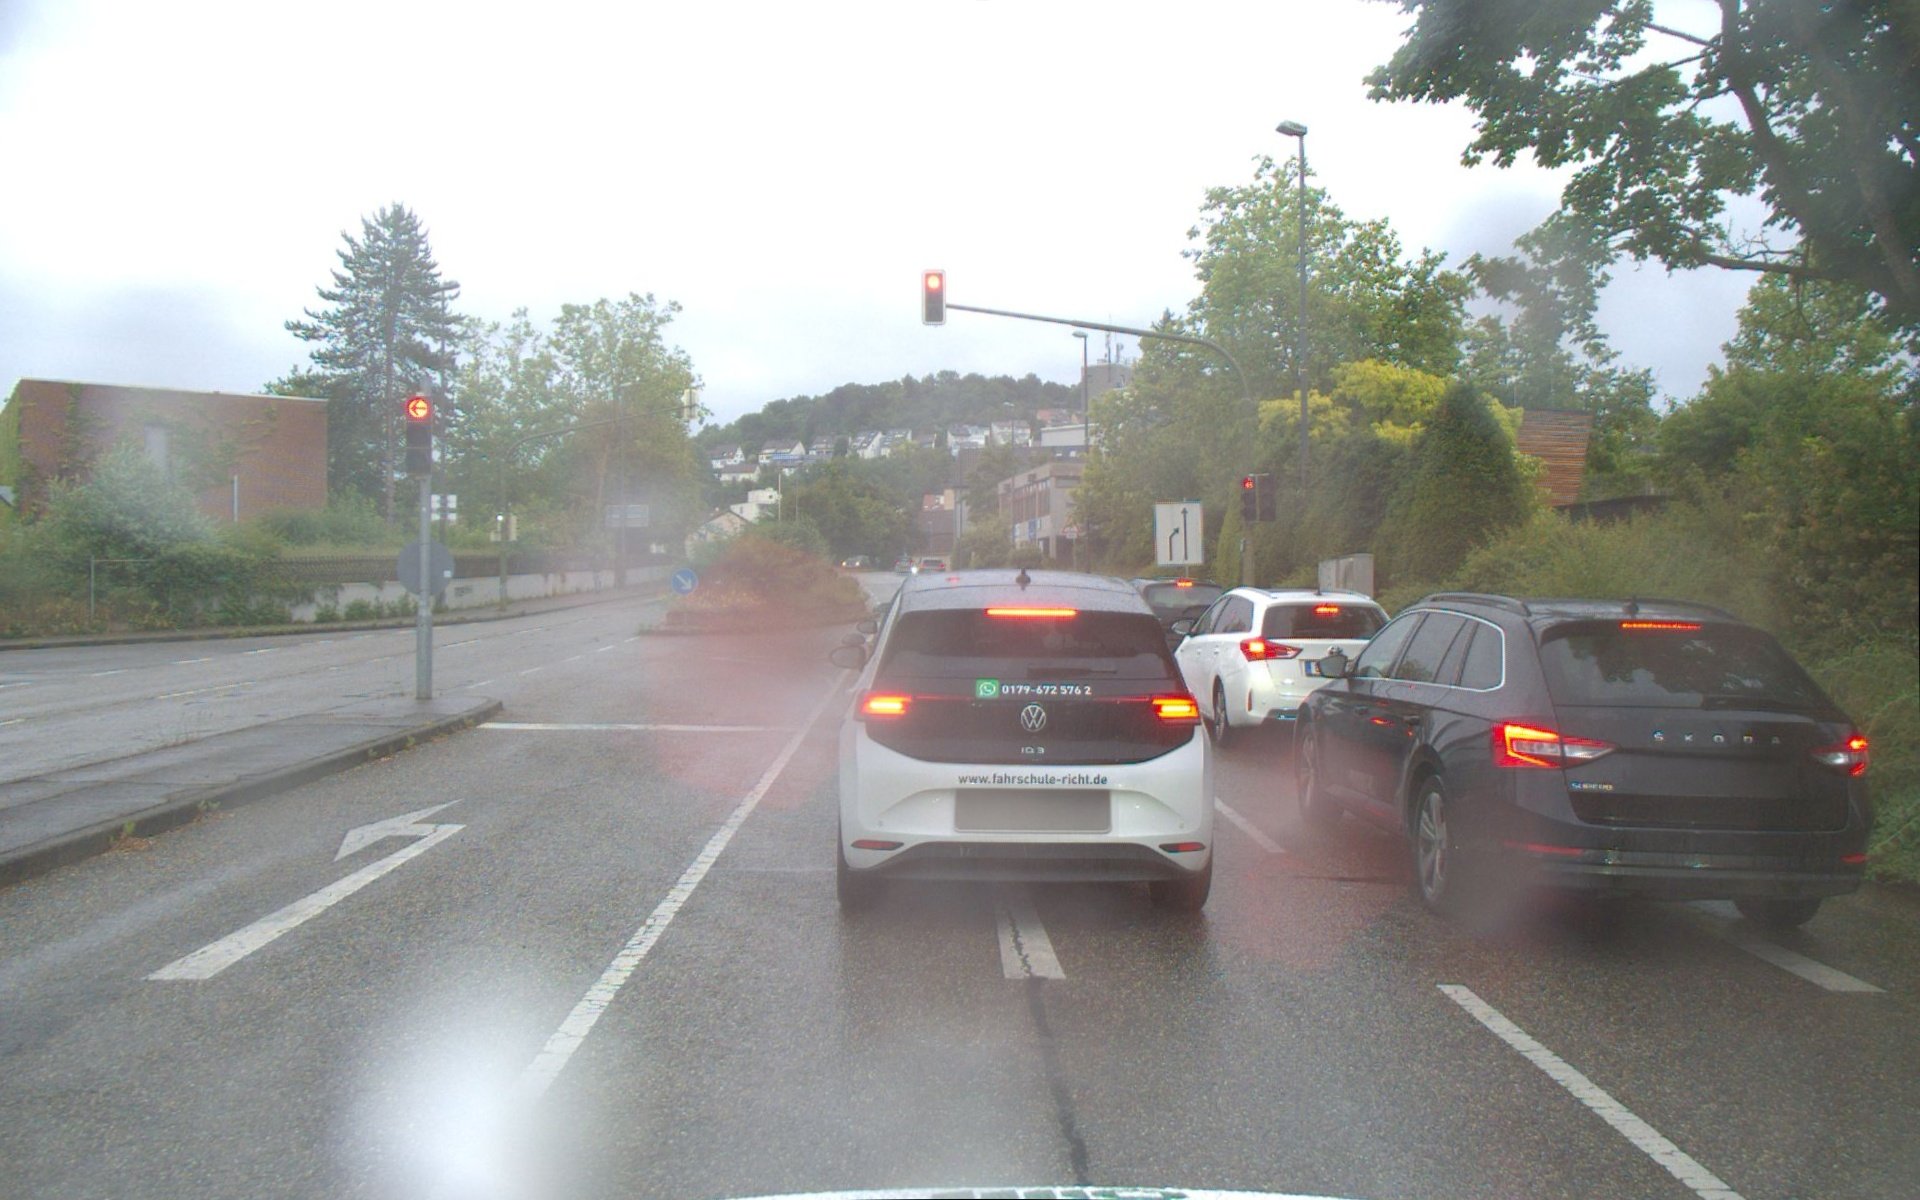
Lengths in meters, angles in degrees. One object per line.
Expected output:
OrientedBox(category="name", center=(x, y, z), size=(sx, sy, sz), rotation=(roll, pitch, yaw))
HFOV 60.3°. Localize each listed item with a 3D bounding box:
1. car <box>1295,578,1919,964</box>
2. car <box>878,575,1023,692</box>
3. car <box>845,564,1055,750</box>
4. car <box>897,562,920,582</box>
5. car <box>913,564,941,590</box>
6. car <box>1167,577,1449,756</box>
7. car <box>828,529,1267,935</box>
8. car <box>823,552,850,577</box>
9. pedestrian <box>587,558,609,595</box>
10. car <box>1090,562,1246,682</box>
OrientedBox(category="car", center=(3.120, 0.661, 8.817), size=(1.800, 1.492, 4.350), rotation=(1, 1, 1))
OrientedBox(category="car", center=(-0.158, 0.400, 22.857), size=(1.800, 1.424, 3.830), rotation=(1, 1, -1))
OrientedBox(category="car", center=(-0.134, 0.465, 16.525), size=(1.800, 1.582, 4.174), rotation=(1, 1, -1))
OrientedBox(category="car", center=(-4.253, -2.305, 137.070), size=(1.739, 1.608, 3.999), rotation=(-2, 0, -1))
OrientedBox(category="car", center=(-2.127, -1.460, 107.666), size=(1.739, 1.608, 3.999), rotation=(-2, 0, -1))
OrientedBox(category="car", center=(3.263, 0.548, 16.339), size=(1.800, 1.492, 4.116), rotation=(1, 1, -1))
OrientedBox(category="car", center=(0.318, 0.519, 9.231), size=(1.800, 1.657, 4.615), rotation=(1, 1, -1))
OrientedBox(category="car", center=(-10.555, -3.028, 141.451), size=(1.953, 2.049, 3.999), rotation=(1, -1, -1))
OrientedBox(category="pedestrian", center=(-16.008, -1.021, 73.093), size=(0.744, 1.595, 0.825), rotation=(-2, 0, -2))
OrientedBox(category="car", center=(3.004, 0.294, 24.611), size=(1.739, 1.609, 3.999), rotation=(1, 0, -1))
